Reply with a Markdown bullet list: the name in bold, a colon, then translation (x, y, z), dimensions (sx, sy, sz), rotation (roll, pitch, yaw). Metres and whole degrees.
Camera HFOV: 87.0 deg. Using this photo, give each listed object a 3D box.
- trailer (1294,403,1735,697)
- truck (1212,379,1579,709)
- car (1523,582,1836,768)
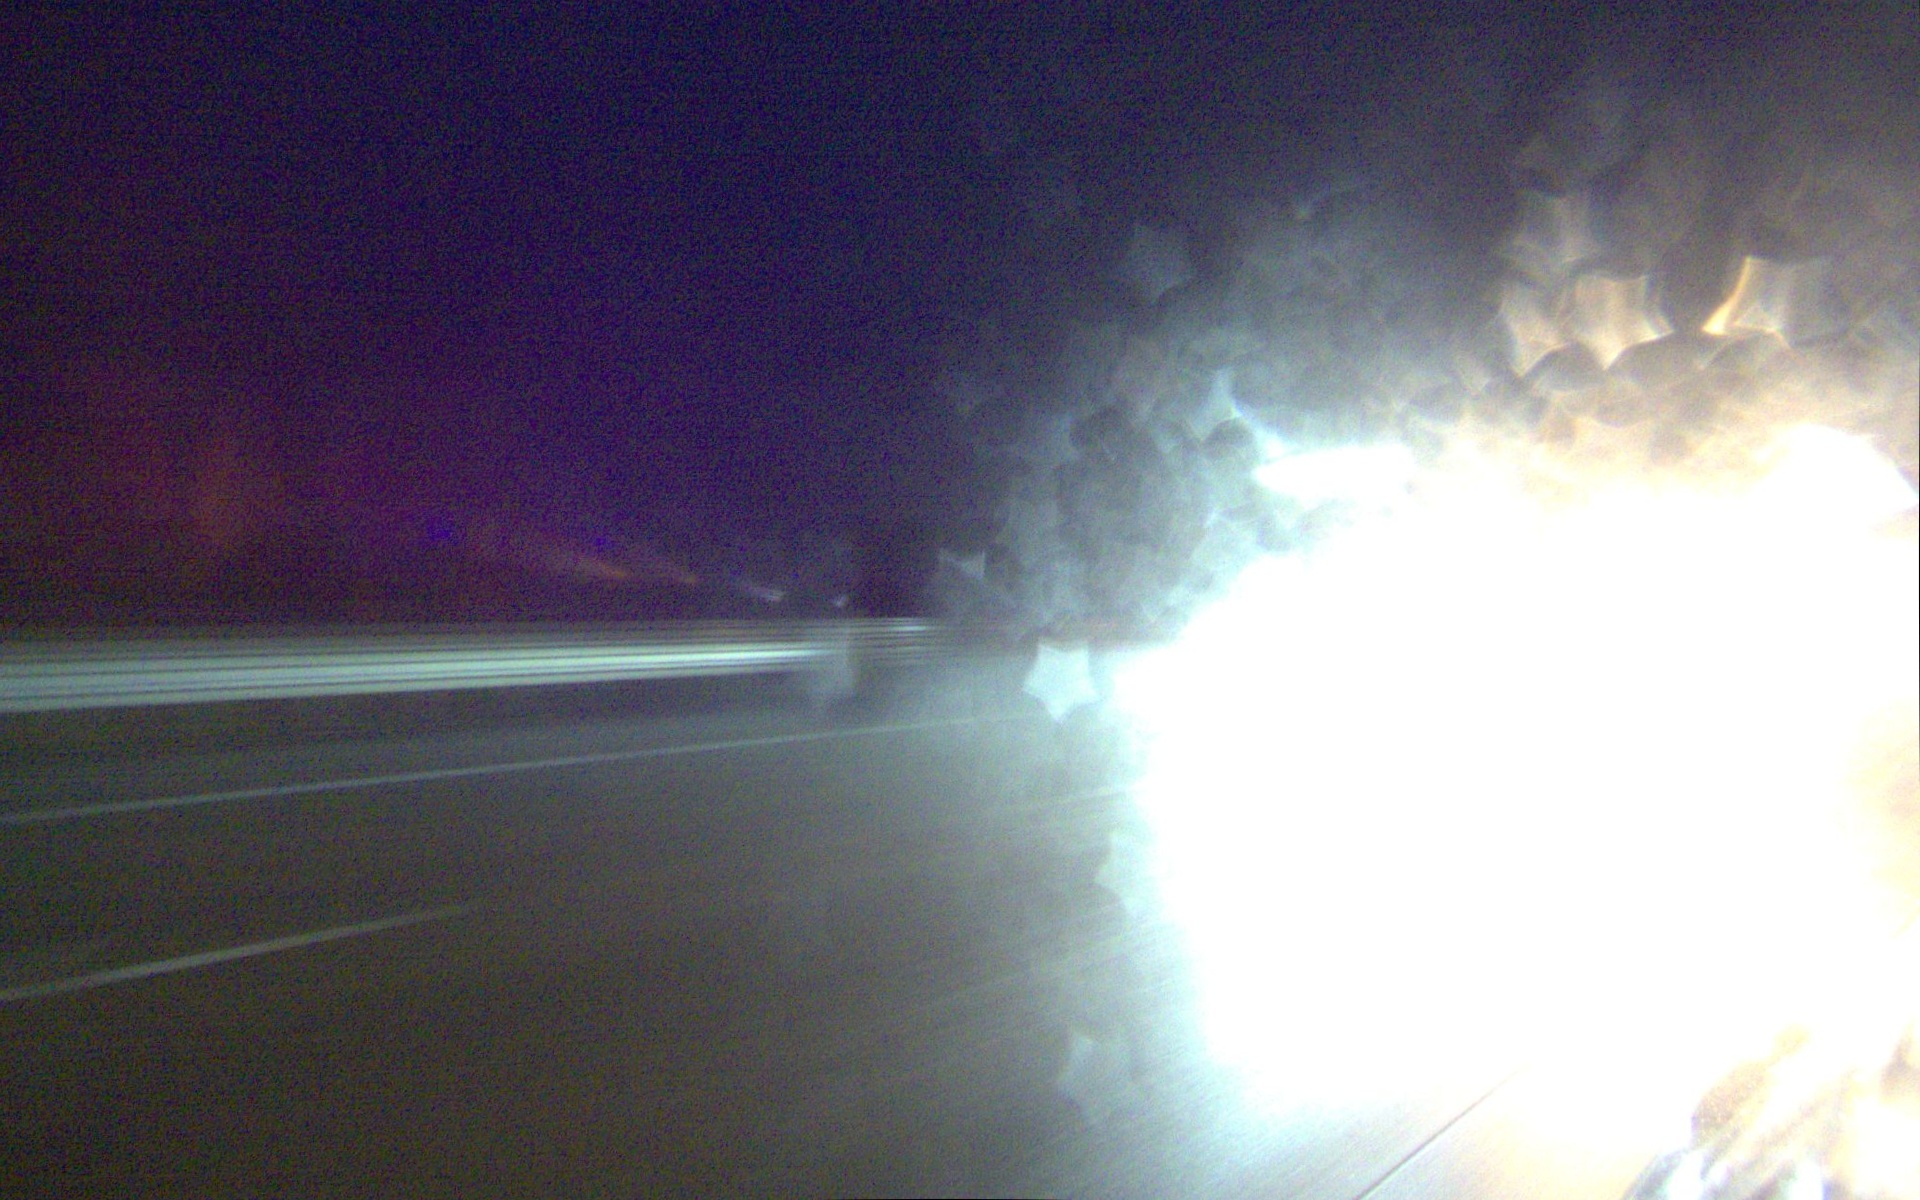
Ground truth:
- **trailer**: translation (11.802, -0.726, 20.109), dimensions (14.235, 4.159, 2.909), rotation (0, 2, -41)
- **truck**: translation (6.970, -0.748, 15.854), dimensions (5.925, 4.159, 2.909), rotation (1, 2, -41)
- **car**: translation (7.804, 0.629, 10.805), dimensions (4.415, 1.595, 1.744), rotation (0, 1, -41)
